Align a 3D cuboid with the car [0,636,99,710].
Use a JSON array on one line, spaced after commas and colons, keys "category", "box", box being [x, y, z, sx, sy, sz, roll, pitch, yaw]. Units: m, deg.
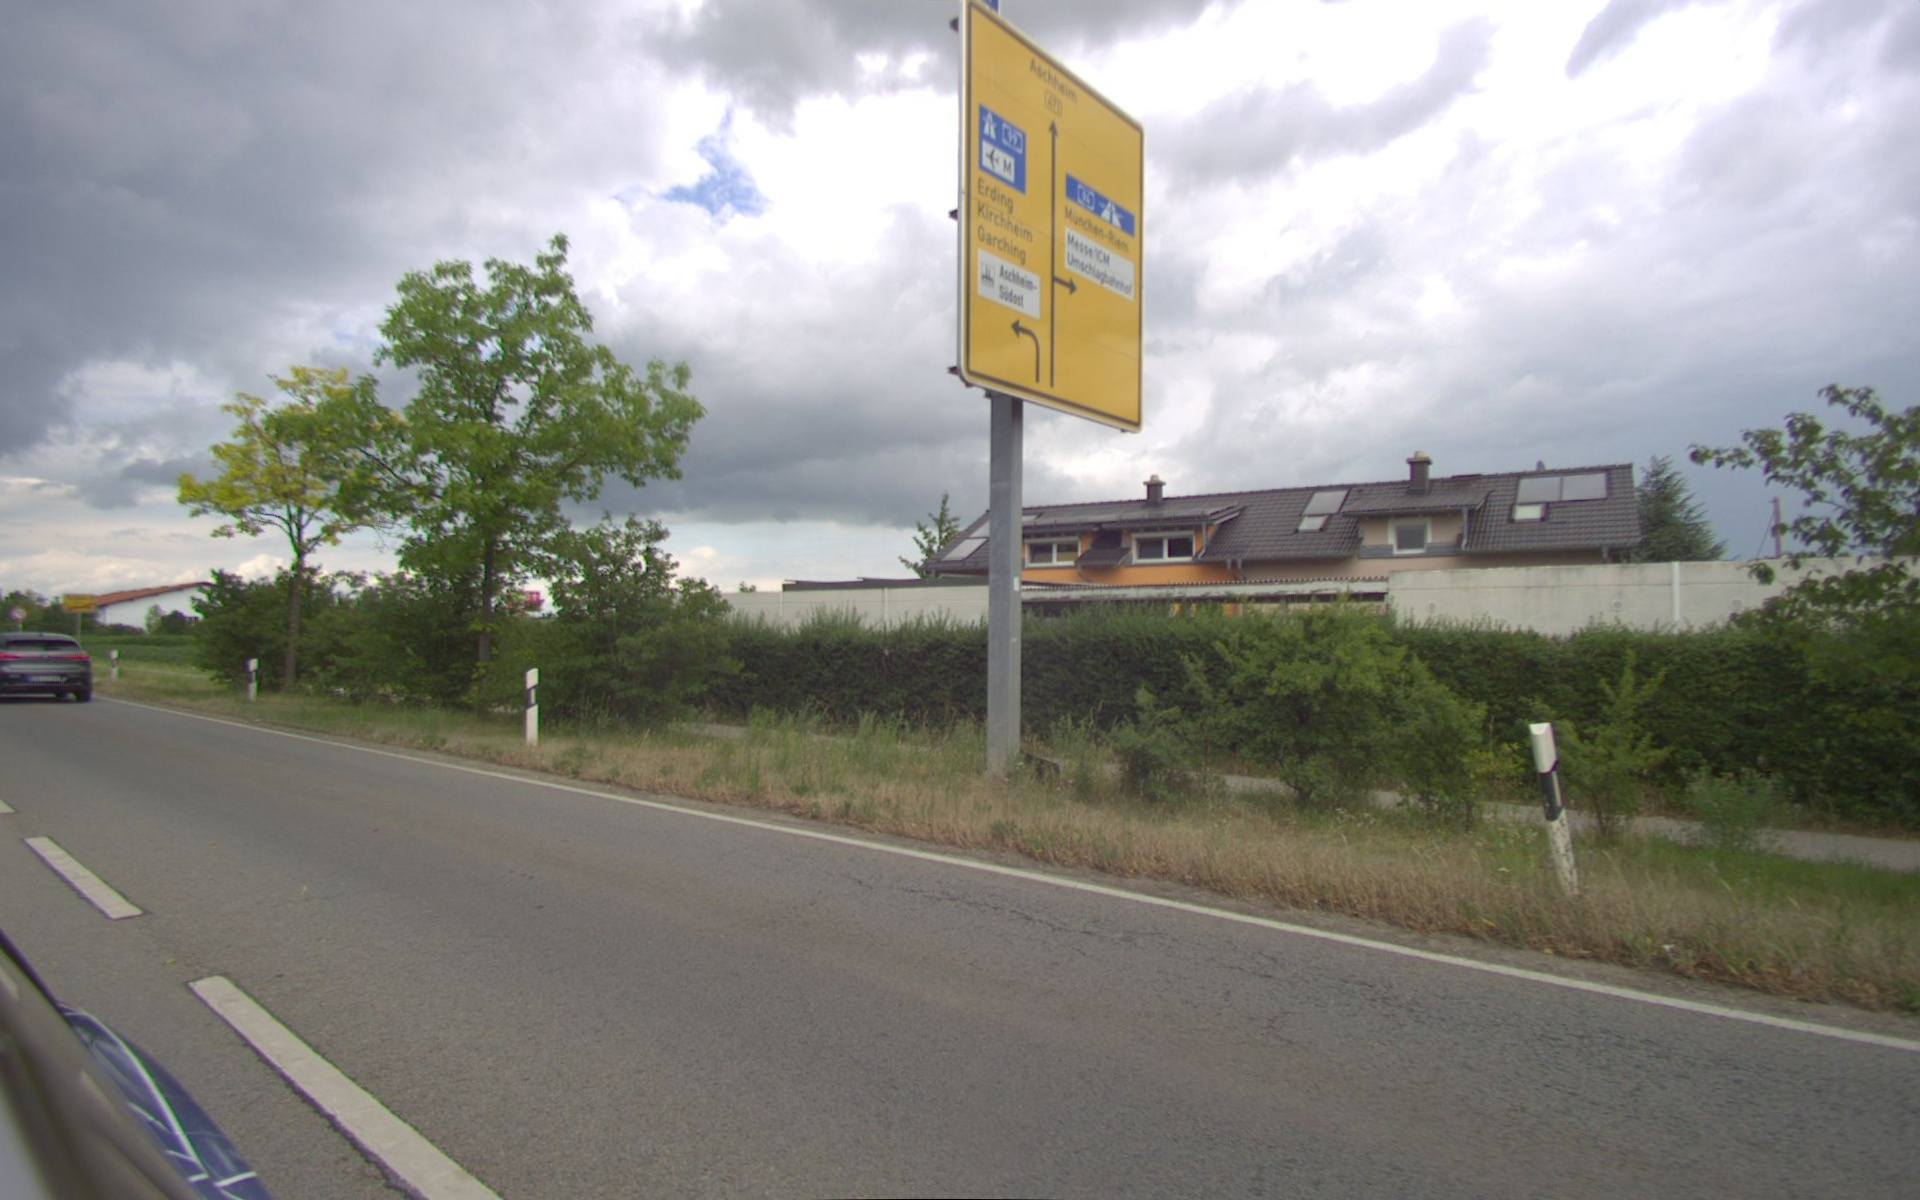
[{"category": "car", "box": [-20.919, 1.583, 22.653, 4.201, 1.505, 1.797, -2, -4, 40]}]
